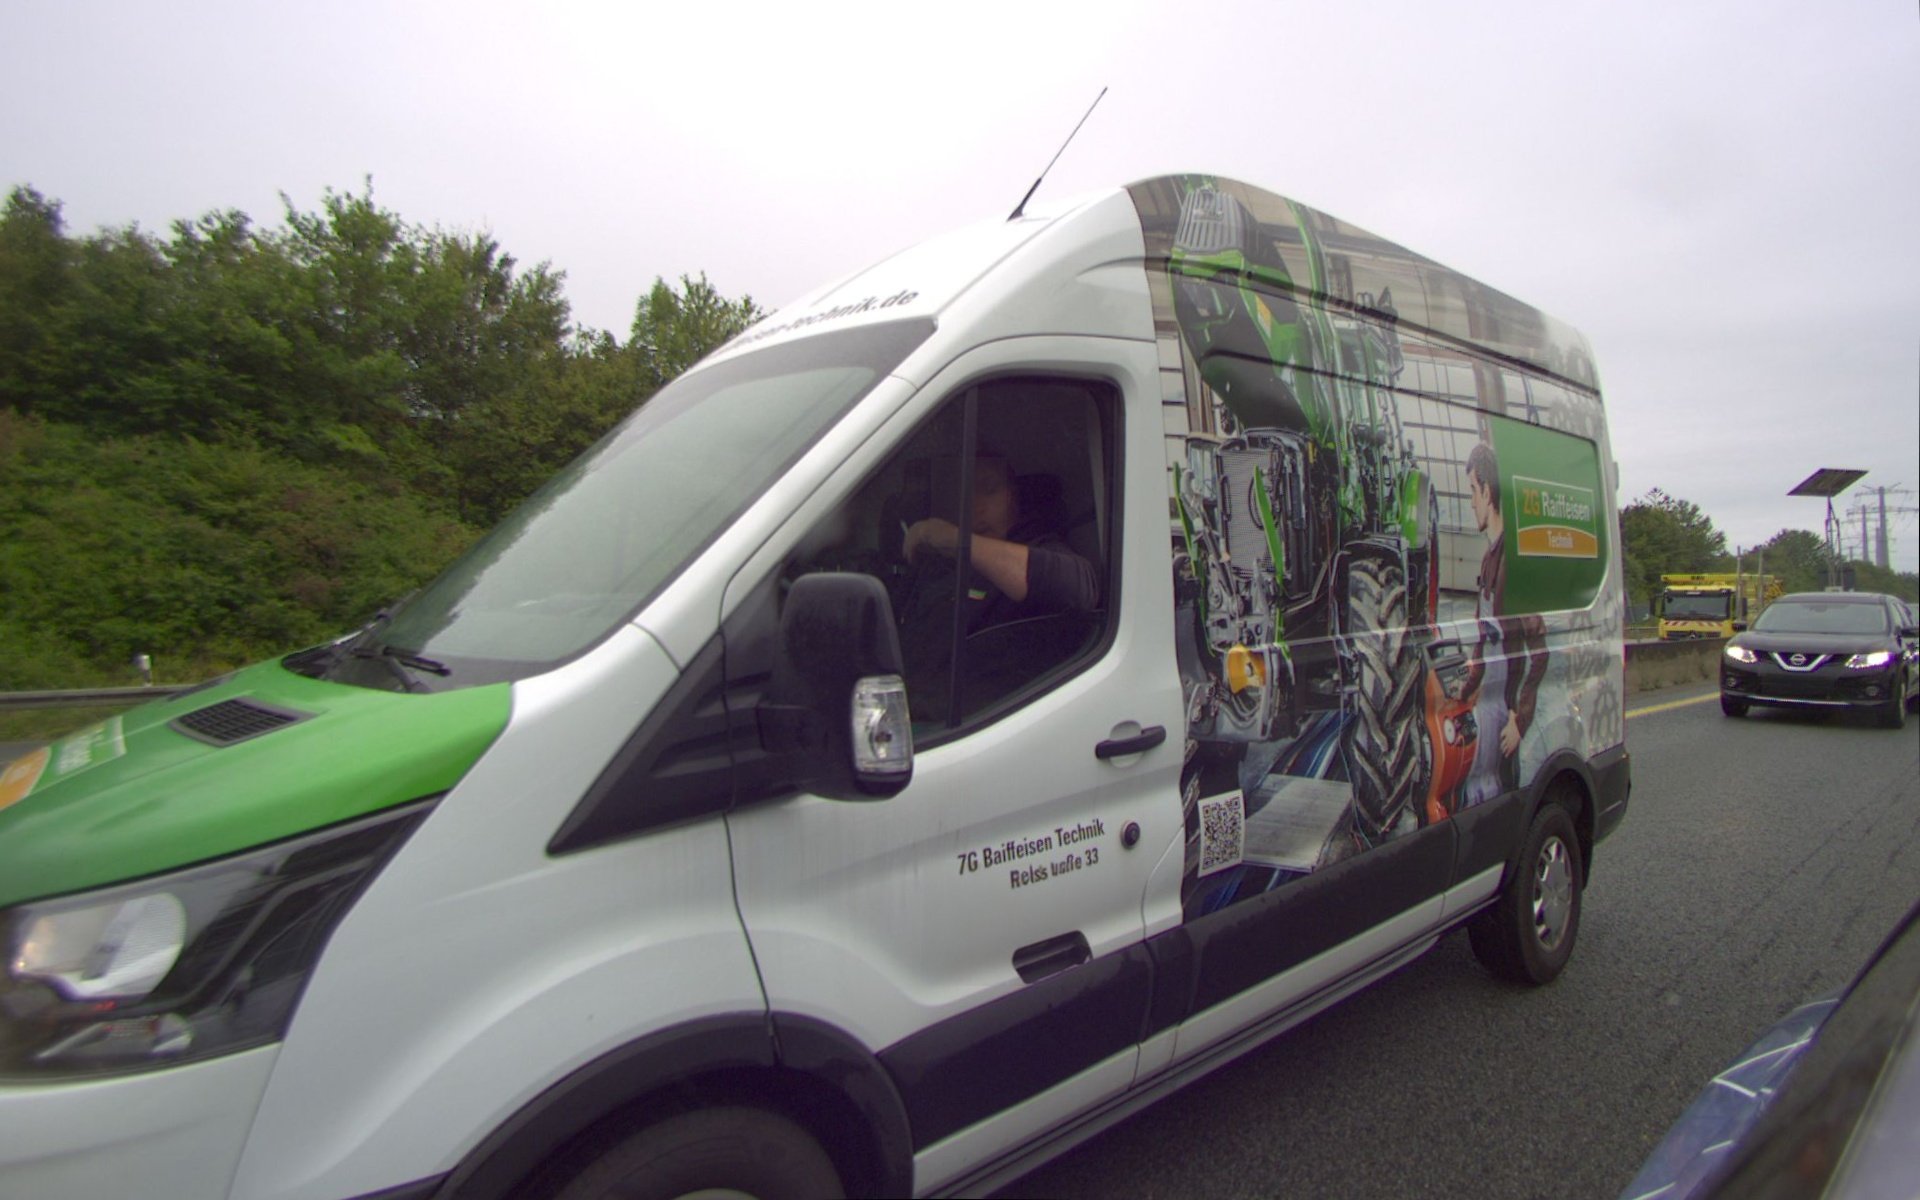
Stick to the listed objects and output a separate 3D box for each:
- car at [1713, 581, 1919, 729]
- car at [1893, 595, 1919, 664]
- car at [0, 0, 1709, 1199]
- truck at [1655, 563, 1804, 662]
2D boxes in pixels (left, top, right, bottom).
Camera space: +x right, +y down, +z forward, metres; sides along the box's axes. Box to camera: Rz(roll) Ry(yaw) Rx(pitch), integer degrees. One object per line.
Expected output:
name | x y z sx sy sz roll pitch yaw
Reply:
car | 11.996 0.608 13.832 4.561 1.696 1.892 0 0 -42
car | 23.165 0.653 23.555 4.053 1.509 1.782 0 0 -42
car | 0.407 0.030 3.488 6.008 2.709 2.149 0 0 -40
truck | 30.101 0.396 39.395 9.405 3.467 2.618 0 0 -40
